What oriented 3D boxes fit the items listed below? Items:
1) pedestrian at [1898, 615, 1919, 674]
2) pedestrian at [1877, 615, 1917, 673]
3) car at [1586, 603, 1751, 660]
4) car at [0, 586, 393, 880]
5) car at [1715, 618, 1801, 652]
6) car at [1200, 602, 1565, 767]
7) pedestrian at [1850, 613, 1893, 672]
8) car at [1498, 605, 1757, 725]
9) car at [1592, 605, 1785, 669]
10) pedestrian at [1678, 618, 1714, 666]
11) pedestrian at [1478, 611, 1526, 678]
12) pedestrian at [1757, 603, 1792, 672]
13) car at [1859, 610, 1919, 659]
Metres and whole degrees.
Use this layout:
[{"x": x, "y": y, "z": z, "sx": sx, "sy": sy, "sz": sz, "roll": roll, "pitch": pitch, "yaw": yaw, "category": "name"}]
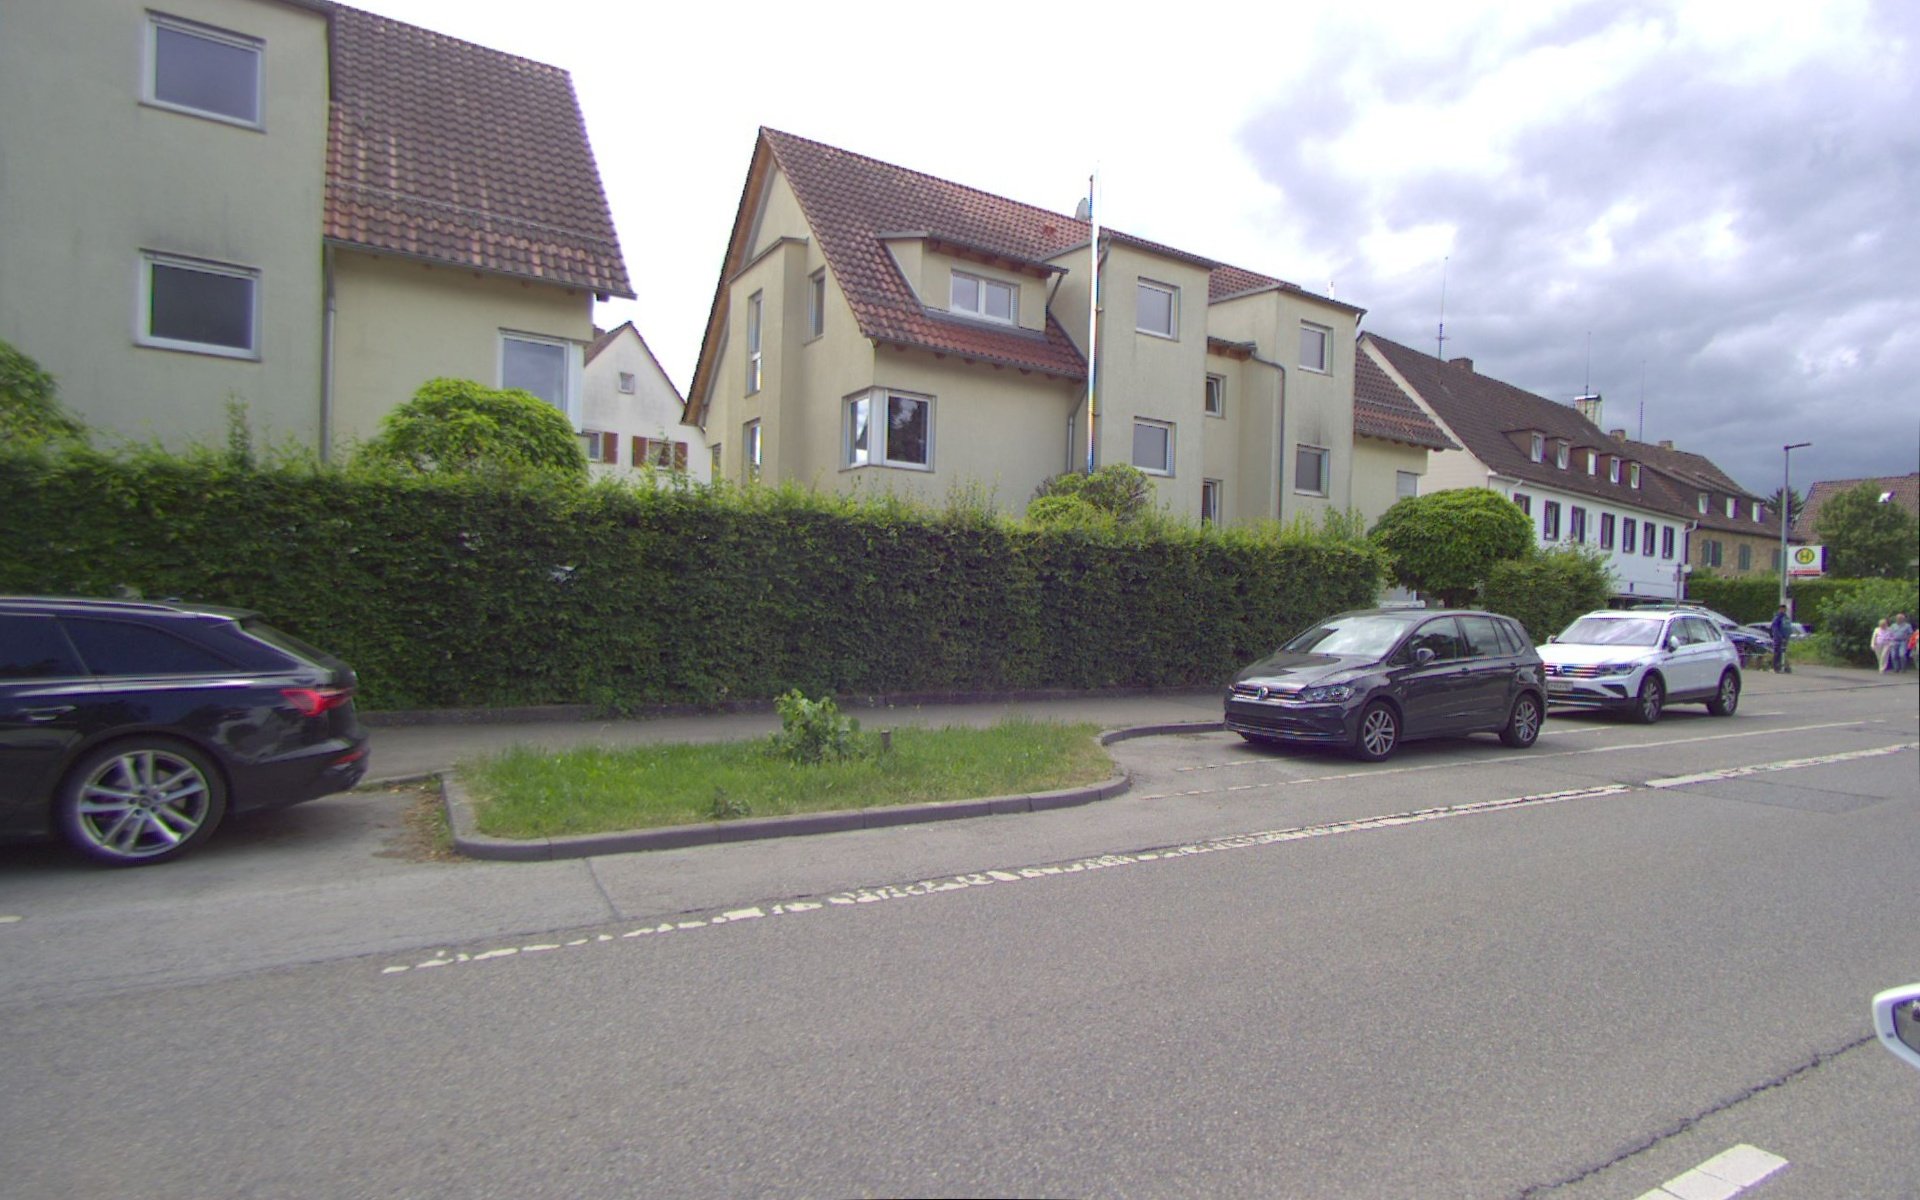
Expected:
[{"x": 27.642, "y": 1.282, "z": 28.929, "sx": 0.747, "sy": 1.686, "sz": 0.781, "roll": 1, "pitch": 0, "yaw": -37, "category": "pedestrian"}, {"x": 28.079, "y": 1.311, "z": 30.097, "sx": 0.586, "sy": 1.686, "sz": 0.781, "roll": 1, "pitch": 0, "yaw": -37, "category": "pedestrian"}, {"x": 22.827, "y": 0.977, "z": 32.482, "sx": 1.774, "sy": 1.502, "sz": 3.958, "roll": 1, "pitch": 3, "yaw": -36, "category": "car"}, {"x": -6.007, "y": 0.672, "z": 5.603, "sx": 4.838, "sy": 1.504, "sz": 1.982, "roll": 1, "pitch": -1, "yaw": -33, "category": "car"}, {"x": 36.248, "y": 1.571, "z": 45.670, "sx": 1.286, "sy": 1.461, "sz": 2.806, "roll": 1, "pitch": 0, "yaw": -35, "category": "car"}, {"x": 4.891, "y": 0.855, "z": 11.471, "sx": 4.223, "sy": 1.572, "sz": 1.668, "roll": 1, "pitch": 0, "yaw": -31, "category": "car"}, {"x": 26.855, "y": 1.248, "z": 29.601, "sx": 0.873, "sy": 1.686, "sz": 0.781, "roll": 1, "pitch": 0, "yaw": -37, "category": "pedestrian"}, {"x": 10.668, "y": 0.949, "z": 15.959, "sx": 4.538, "sy": 1.656, "sz": 1.810, "roll": 1, "pitch": -1, "yaw": -34, "category": "car"}, {"x": 21.846, "y": 1.055, "z": 30.231, "sx": 4.463, "sy": 1.574, "sz": 2.025, "roll": 3, "pitch": 1, "yaw": 43, "category": "car"}, {"x": 20.826, "y": 1.175, "z": 28.424, "sx": 0.697, "sy": 1.330, "sz": 0.585, "roll": 1, "pitch": 0, "yaw": -29, "category": "pedestrian"}, {"x": 13.238, "y": 1.079, "z": 24.548, "sx": 0.825, "sy": 1.581, "sz": 0.668, "roll": 1, "pitch": 0, "yaw": -25, "category": "pedestrian"}, {"x": 21.767, "y": 0.993, "z": 26.848, "sx": 0.664, "sy": 1.830, "sz": 0.501, "roll": 1, "pitch": 0, "yaw": -31, "category": "pedestrian"}, {"x": 39.731, "y": 1.430, "z": 41.111, "sx": 1.976, "sy": 1.917, "sz": 3.968, "roll": 1, "pitch": 0, "yaw": -30, "category": "car"}]
